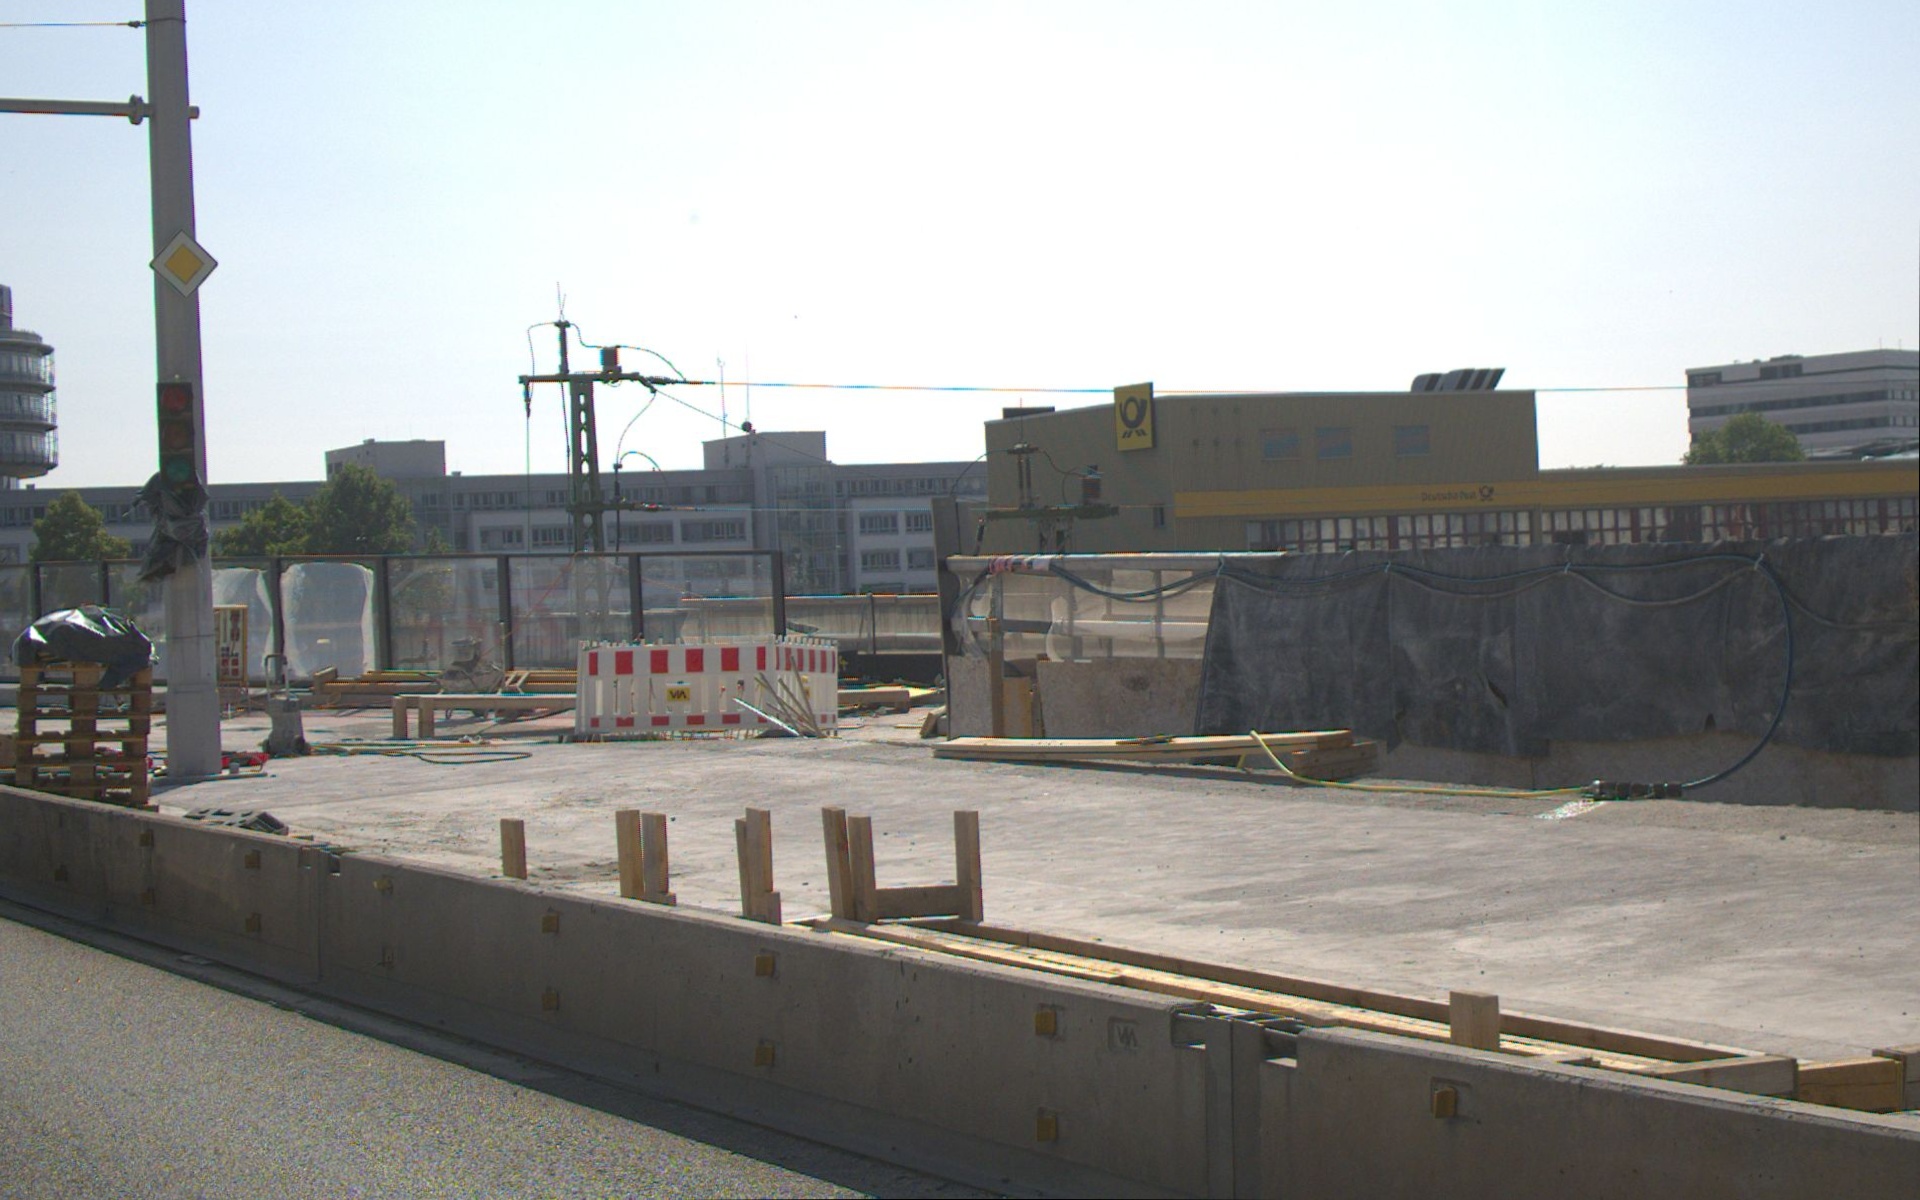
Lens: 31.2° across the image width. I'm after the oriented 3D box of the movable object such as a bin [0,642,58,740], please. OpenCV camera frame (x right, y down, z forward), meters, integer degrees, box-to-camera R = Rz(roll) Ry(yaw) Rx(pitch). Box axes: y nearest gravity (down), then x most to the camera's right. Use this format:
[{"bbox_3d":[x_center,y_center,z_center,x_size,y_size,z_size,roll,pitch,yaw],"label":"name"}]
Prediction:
[{"bbox_3d":[-10.904,1.029,38.978,0.940,1.070,0.891,-2,0,18],"label":"movable object such as a bin"}]
